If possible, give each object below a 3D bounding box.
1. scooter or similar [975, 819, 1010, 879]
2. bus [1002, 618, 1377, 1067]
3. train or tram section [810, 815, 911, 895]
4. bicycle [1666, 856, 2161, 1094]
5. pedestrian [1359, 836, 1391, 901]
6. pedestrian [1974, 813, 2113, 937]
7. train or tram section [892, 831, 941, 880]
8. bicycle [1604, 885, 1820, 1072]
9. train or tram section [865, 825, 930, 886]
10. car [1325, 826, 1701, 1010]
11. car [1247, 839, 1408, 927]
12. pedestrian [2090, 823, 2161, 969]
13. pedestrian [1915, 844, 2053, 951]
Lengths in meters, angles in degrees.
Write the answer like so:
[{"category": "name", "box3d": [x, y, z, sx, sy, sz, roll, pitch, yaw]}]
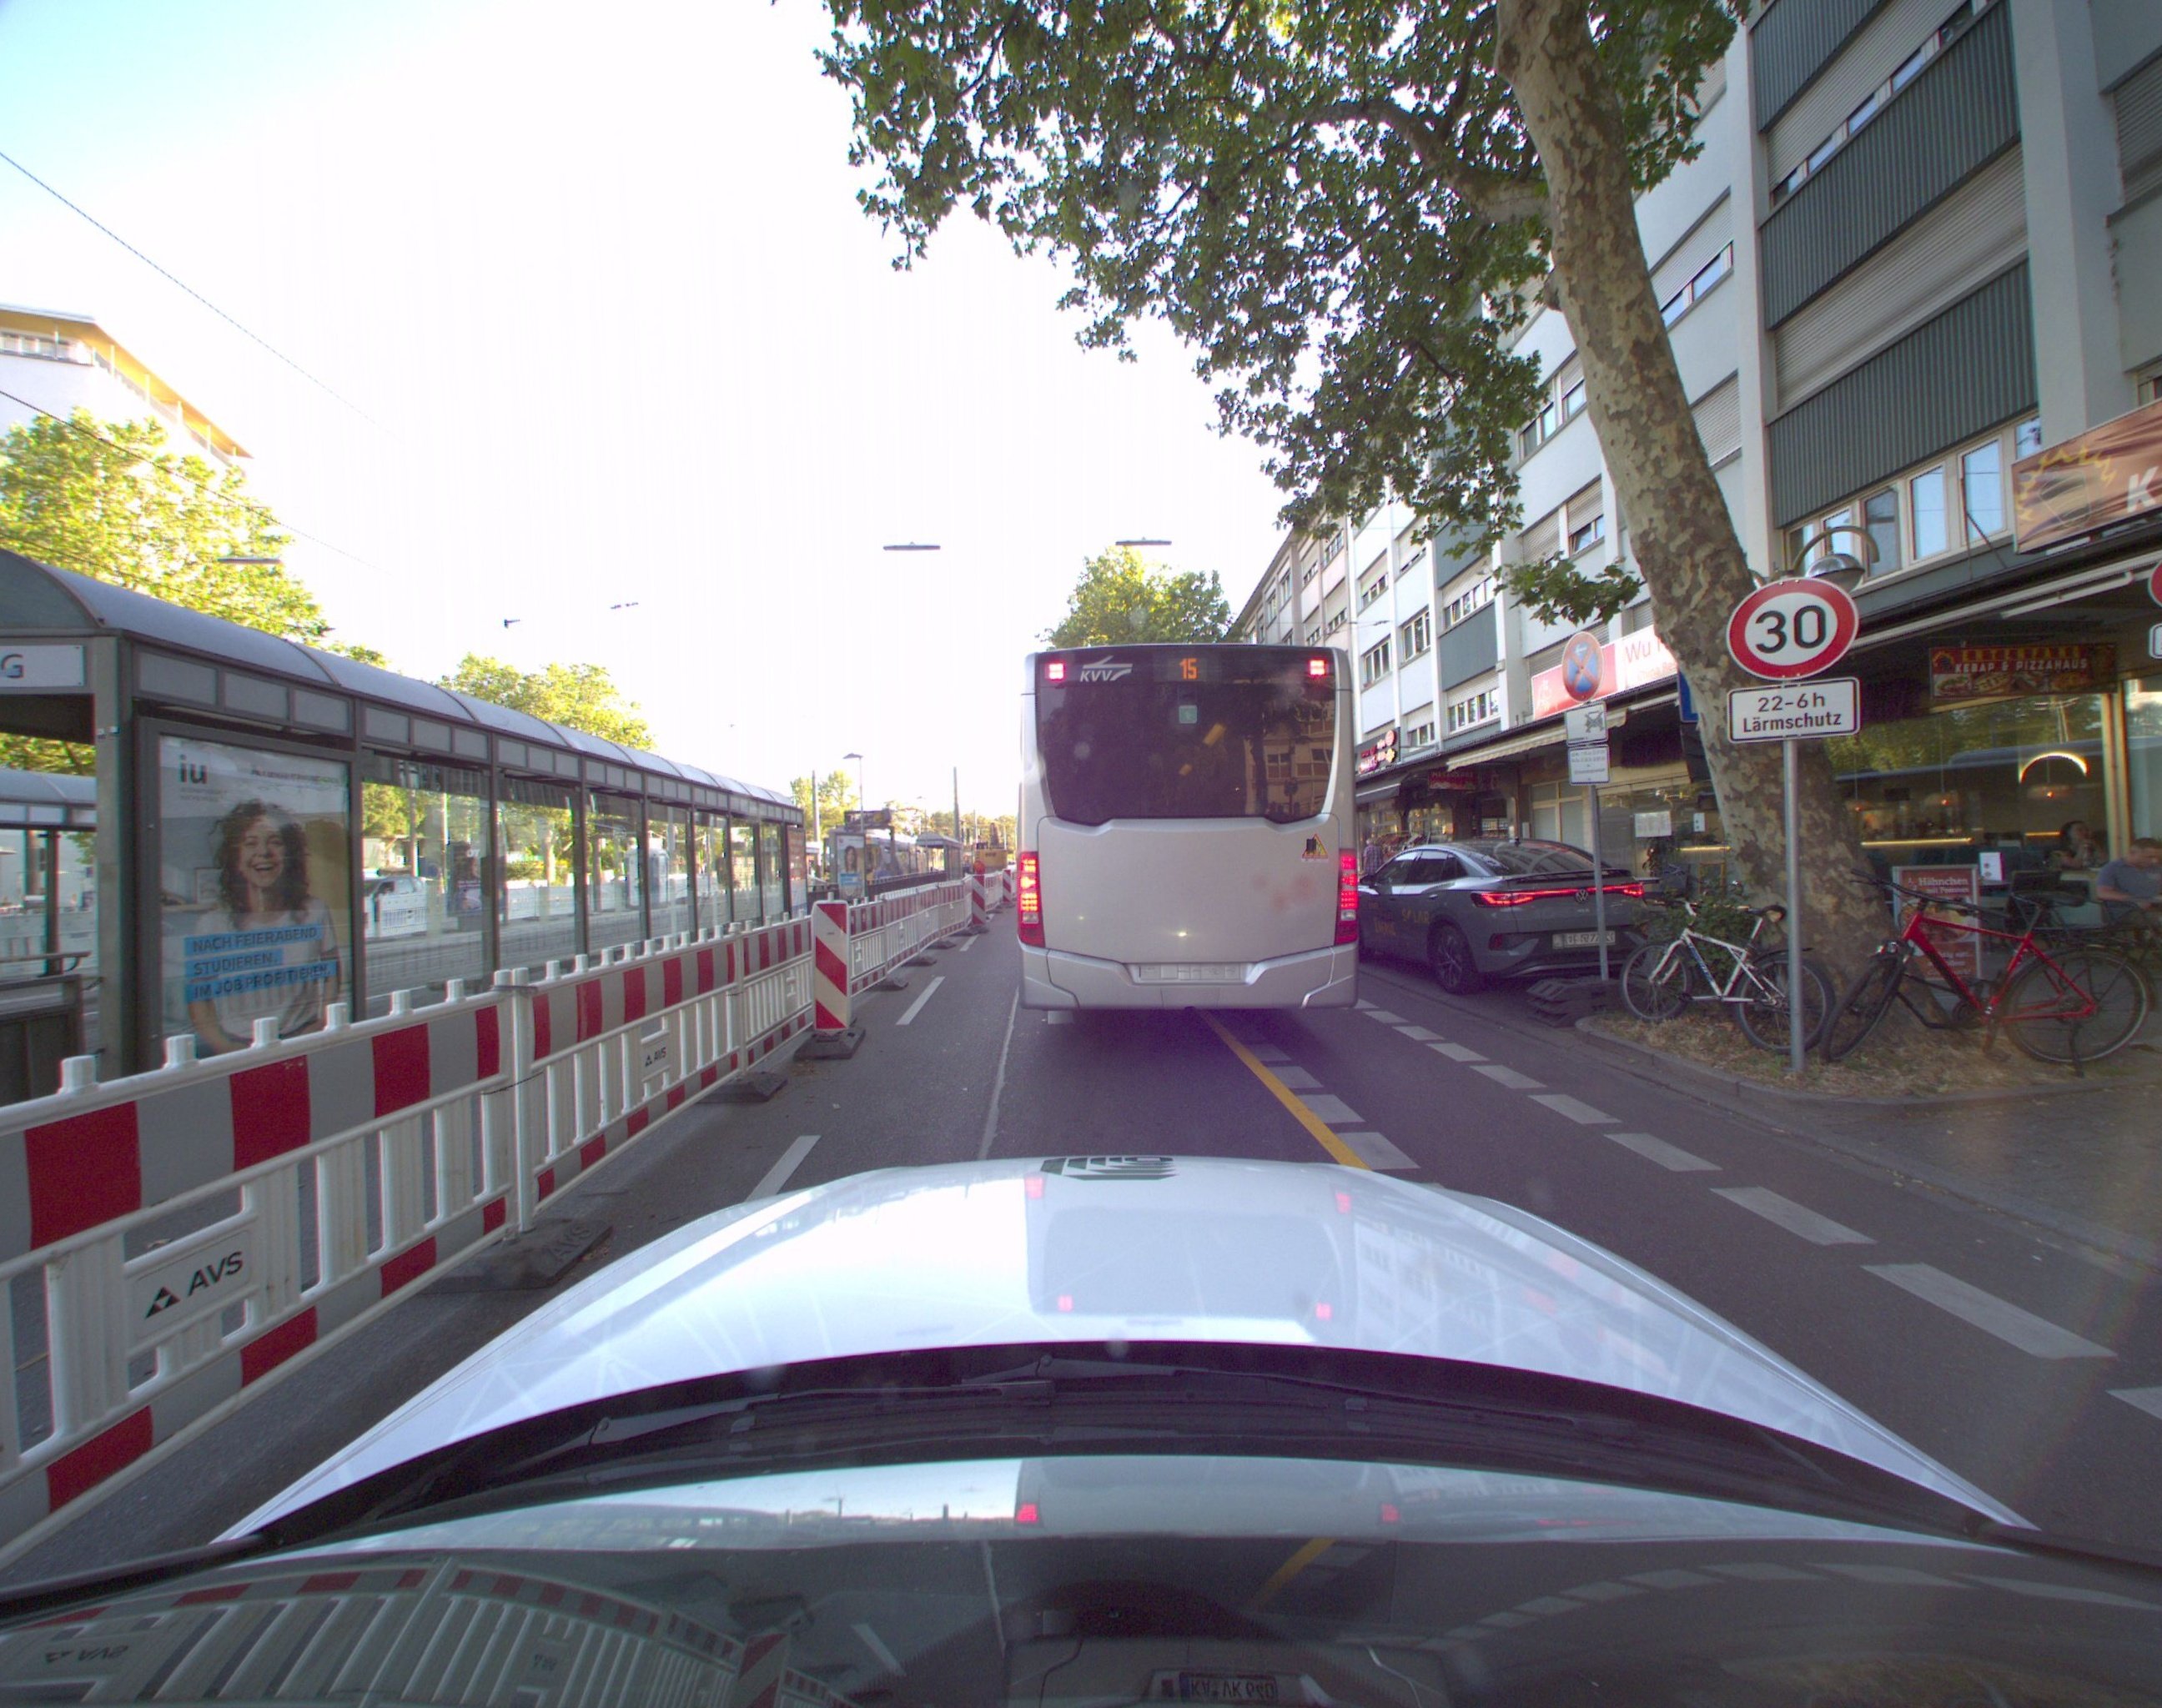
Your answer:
[{"category": "scooter or similar", "box3d": [-6.985, -0.387, 64.817, 2.465, 4.471, 5.961, -2, -1, -5]}, {"category": "bus", "box3d": [0.882, -0.055, 9.684, 2.601, 3.126, 7.996, 0, 0, 2]}, {"category": "train or tram section", "box3d": [-11.007, 0.104, 42.008, 2.681, 3.534, 11.756, 0, -1, -3]}, {"category": "bicycle", "box3d": [5.058, 0.726, 4.892, 2.370, 1.155, 0.557, -7, -2, 14]}, {"category": "pedestrian", "box3d": [7.774, 0.370, 21.564, 0.658, 1.666, 0.603, -4, -1, 18]}, {"category": "pedestrian", "box3d": [11.062, 0.227, 9.377, 0.836, 1.333, 0.963, -2, -1, -39]}, {"category": "train or tram section", "box3d": [-12.965, 0.170, 65.179, 2.683, 3.533, 11.558, 0, -1, -6]}, {"category": "bicycle", "box3d": [4.574, 0.840, 6.033, 0.550, 1.155, 1.446, -2, -1, 6]}, {"category": "train or tram section", "box3d": [-11.859, 0.123, 53.662, 2.682, 3.558, 11.559, 0, -1, -5]}, {"category": "car", "box3d": [4.723, 0.597, 9.822, 1.989, 1.582, 4.364, -4, 0, -3]}, {"category": "car", "box3d": [5.270, 0.566, 18.107, 1.989, 1.582, 4.364, -4, 0, -3]}, {"category": "pedestrian", "box3d": [9.671, 0.359, 7.214, 0.555, 1.245, 0.692, -4, 0, 8]}, {"category": "pedestrian", "box3d": [9.860, 0.453, 8.902, 0.643, 1.081, 0.945, -2, -1, -39]}]
